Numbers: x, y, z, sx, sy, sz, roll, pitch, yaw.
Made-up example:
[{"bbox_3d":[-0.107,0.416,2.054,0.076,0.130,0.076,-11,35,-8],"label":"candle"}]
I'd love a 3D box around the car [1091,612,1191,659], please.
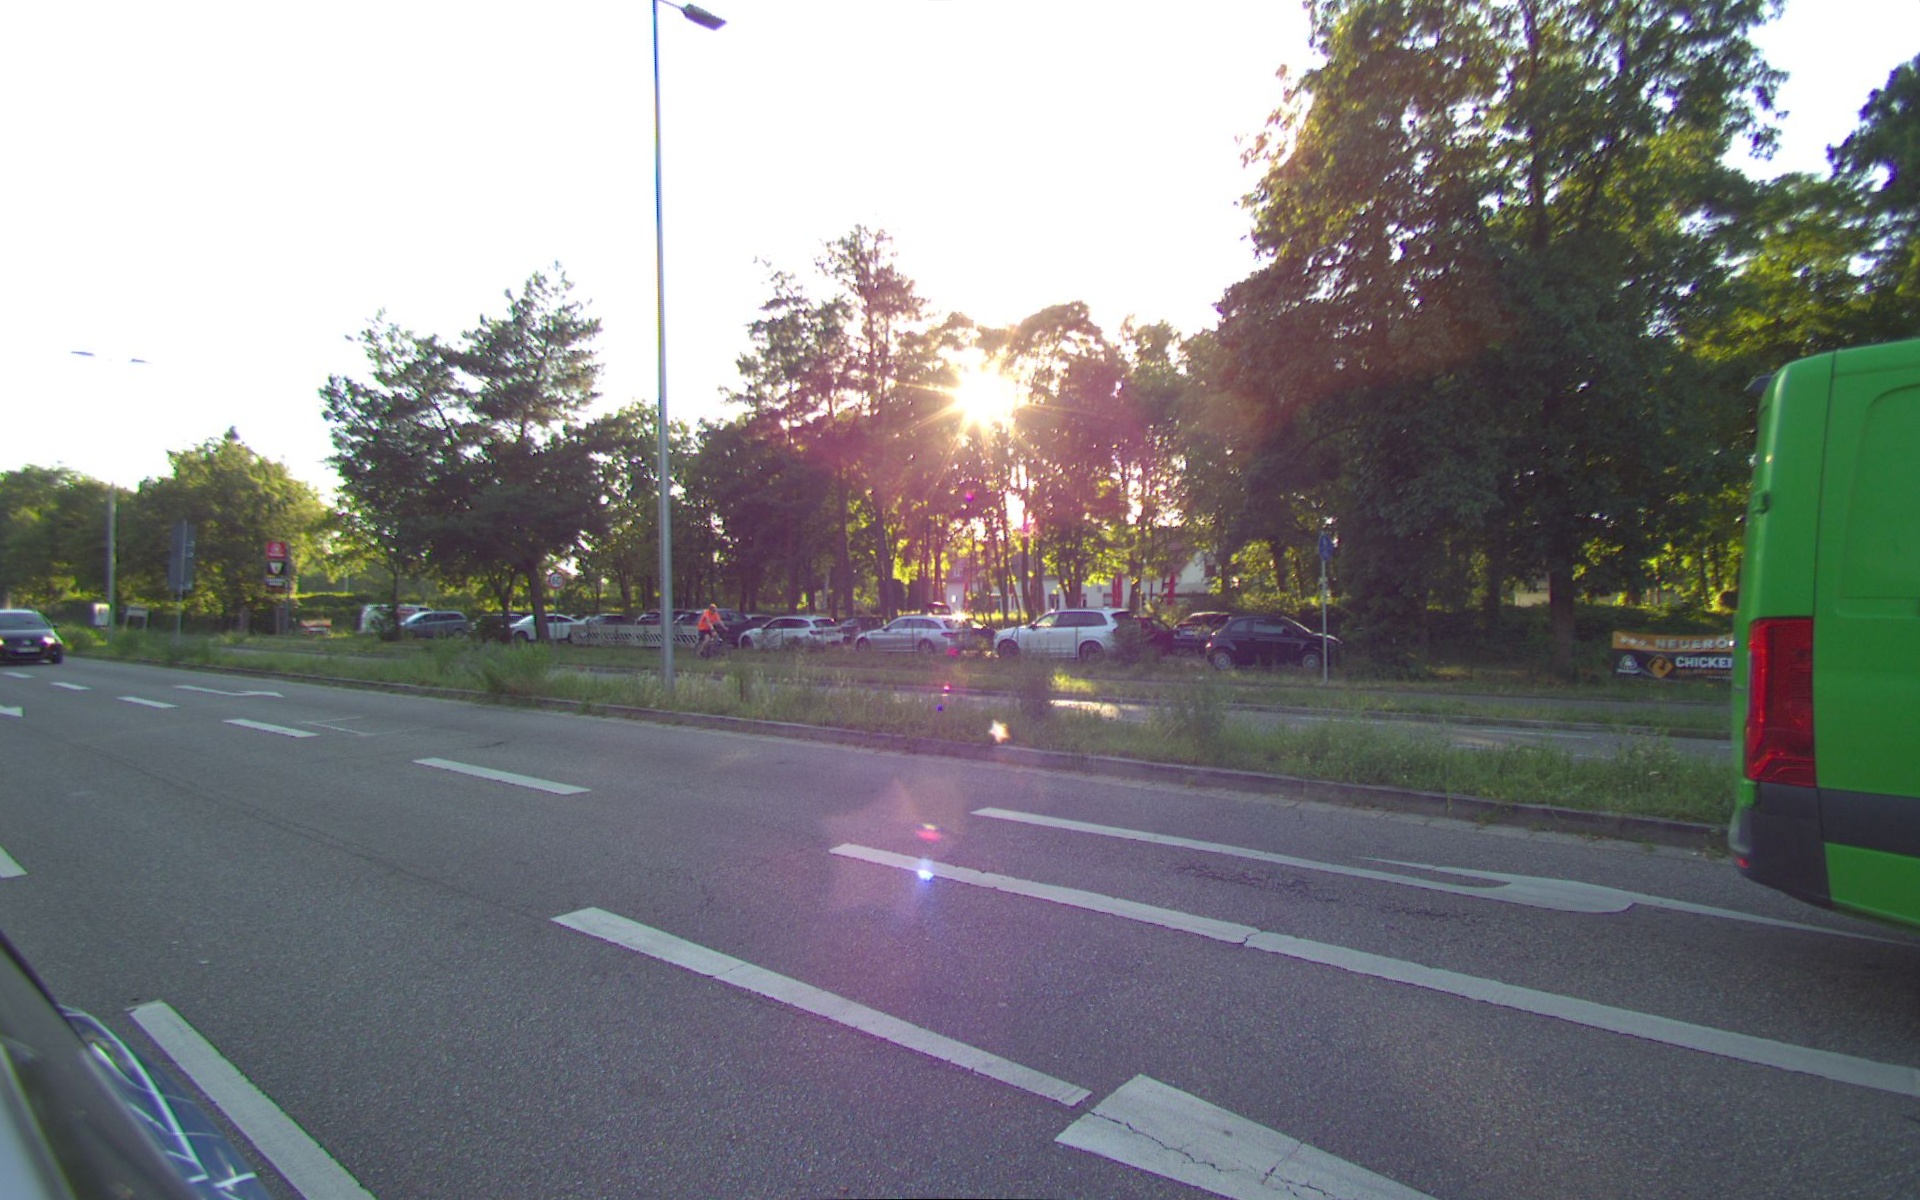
[{"bbox_3d":[6.823,1.310,37.853,1.918,1.663,3.944,-1,-2,42],"label":"car"}]

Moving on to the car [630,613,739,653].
[{"bbox_3d":[-11.894,1.415,43.955,1.769,1.629,4.470,-1,-2,37],"label":"car"}]

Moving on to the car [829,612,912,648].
[{"bbox_3d":[-4.320,1.448,49.054,1.765,1.663,3.947,-1,-2,39],"label":"car"}]

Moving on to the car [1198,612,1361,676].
[{"bbox_3d":[8.573,1.145,27.257,3.807,1.609,1.838,-1,-2,36],"label":"car"}]

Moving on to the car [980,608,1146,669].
[{"bbox_3d":[3.174,1.175,31.812,4.913,1.800,1.975,-1,-2,37],"label":"car"}]

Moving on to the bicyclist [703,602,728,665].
[{"bbox_3d":[-7.490,1.021,30.959,0.617,1.888,0.454,-1,-2,35],"label":"bicyclist"}]

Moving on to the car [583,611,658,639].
[{"bbox_3d":[-20.496,1.504,61.246,1.765,1.663,3.947,-1,-2,40],"label":"car"}]

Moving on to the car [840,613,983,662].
[{"bbox_3d":[-1.746,1.284,35.599,4.913,1.619,1.975,-1,-2,37],"label":"car"}]

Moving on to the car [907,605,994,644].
[{"bbox_3d":[-0.385,1.101,45.119,1.765,1.663,3.947,-1,-2,39],"label":"car"}]

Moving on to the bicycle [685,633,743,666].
[{"bbox_3d":[-7.550,1.504,30.993,2.040,0.940,0.487,-1,-2,35],"label":"bicycle"}]

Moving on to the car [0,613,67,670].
[{"bbox_3d":[-27.774,1.176,29.526,3.996,1.564,1.974,-1,-2,39],"label":"car"}]

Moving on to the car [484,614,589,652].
[{"bbox_3d":[-20.803,1.620,49.852,1.908,1.767,4.441,-1,-2,39],"label":"car"}]

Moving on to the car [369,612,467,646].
[{"bbox_3d":[-30.268,1.603,56.649,1.907,1.811,4.443,-1,-2,38],"label":"car"}]

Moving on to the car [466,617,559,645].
[{"bbox_3d":[-22.640,1.555,51.321,1.731,1.322,3.947,-1,-2,39],"label":"car"}]

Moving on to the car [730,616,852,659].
[{"bbox_3d":[-6.605,1.413,39.302,4.701,1.560,1.975,-1,-2,37],"label":"car"}]

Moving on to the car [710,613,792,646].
[{"bbox_3d":[-10.902,1.519,52.956,1.765,1.663,3.947,-1,-2,40],"label":"car"}]

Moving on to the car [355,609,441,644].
[{"bbox_3d":[-32.540,1.514,58.674,1.764,1.959,3.949,-1,-2,38],"label":"car"}]

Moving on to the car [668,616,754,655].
[{"bbox_3d":[-10.131,1.412,41.275,1.657,1.538,3.060,-1,-2,38],"label":"car"}]

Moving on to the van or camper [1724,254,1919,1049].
[{"bbox_3d":[5.470,0.134,2.271,5.891,2.439,1.973,-1,-2,40],"label":"van or camper"}]

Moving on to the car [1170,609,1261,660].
[{"bbox_3d":[9.000,1.172,35.450,1.914,1.663,3.954,-1,-1,34],"label":"car"}]
